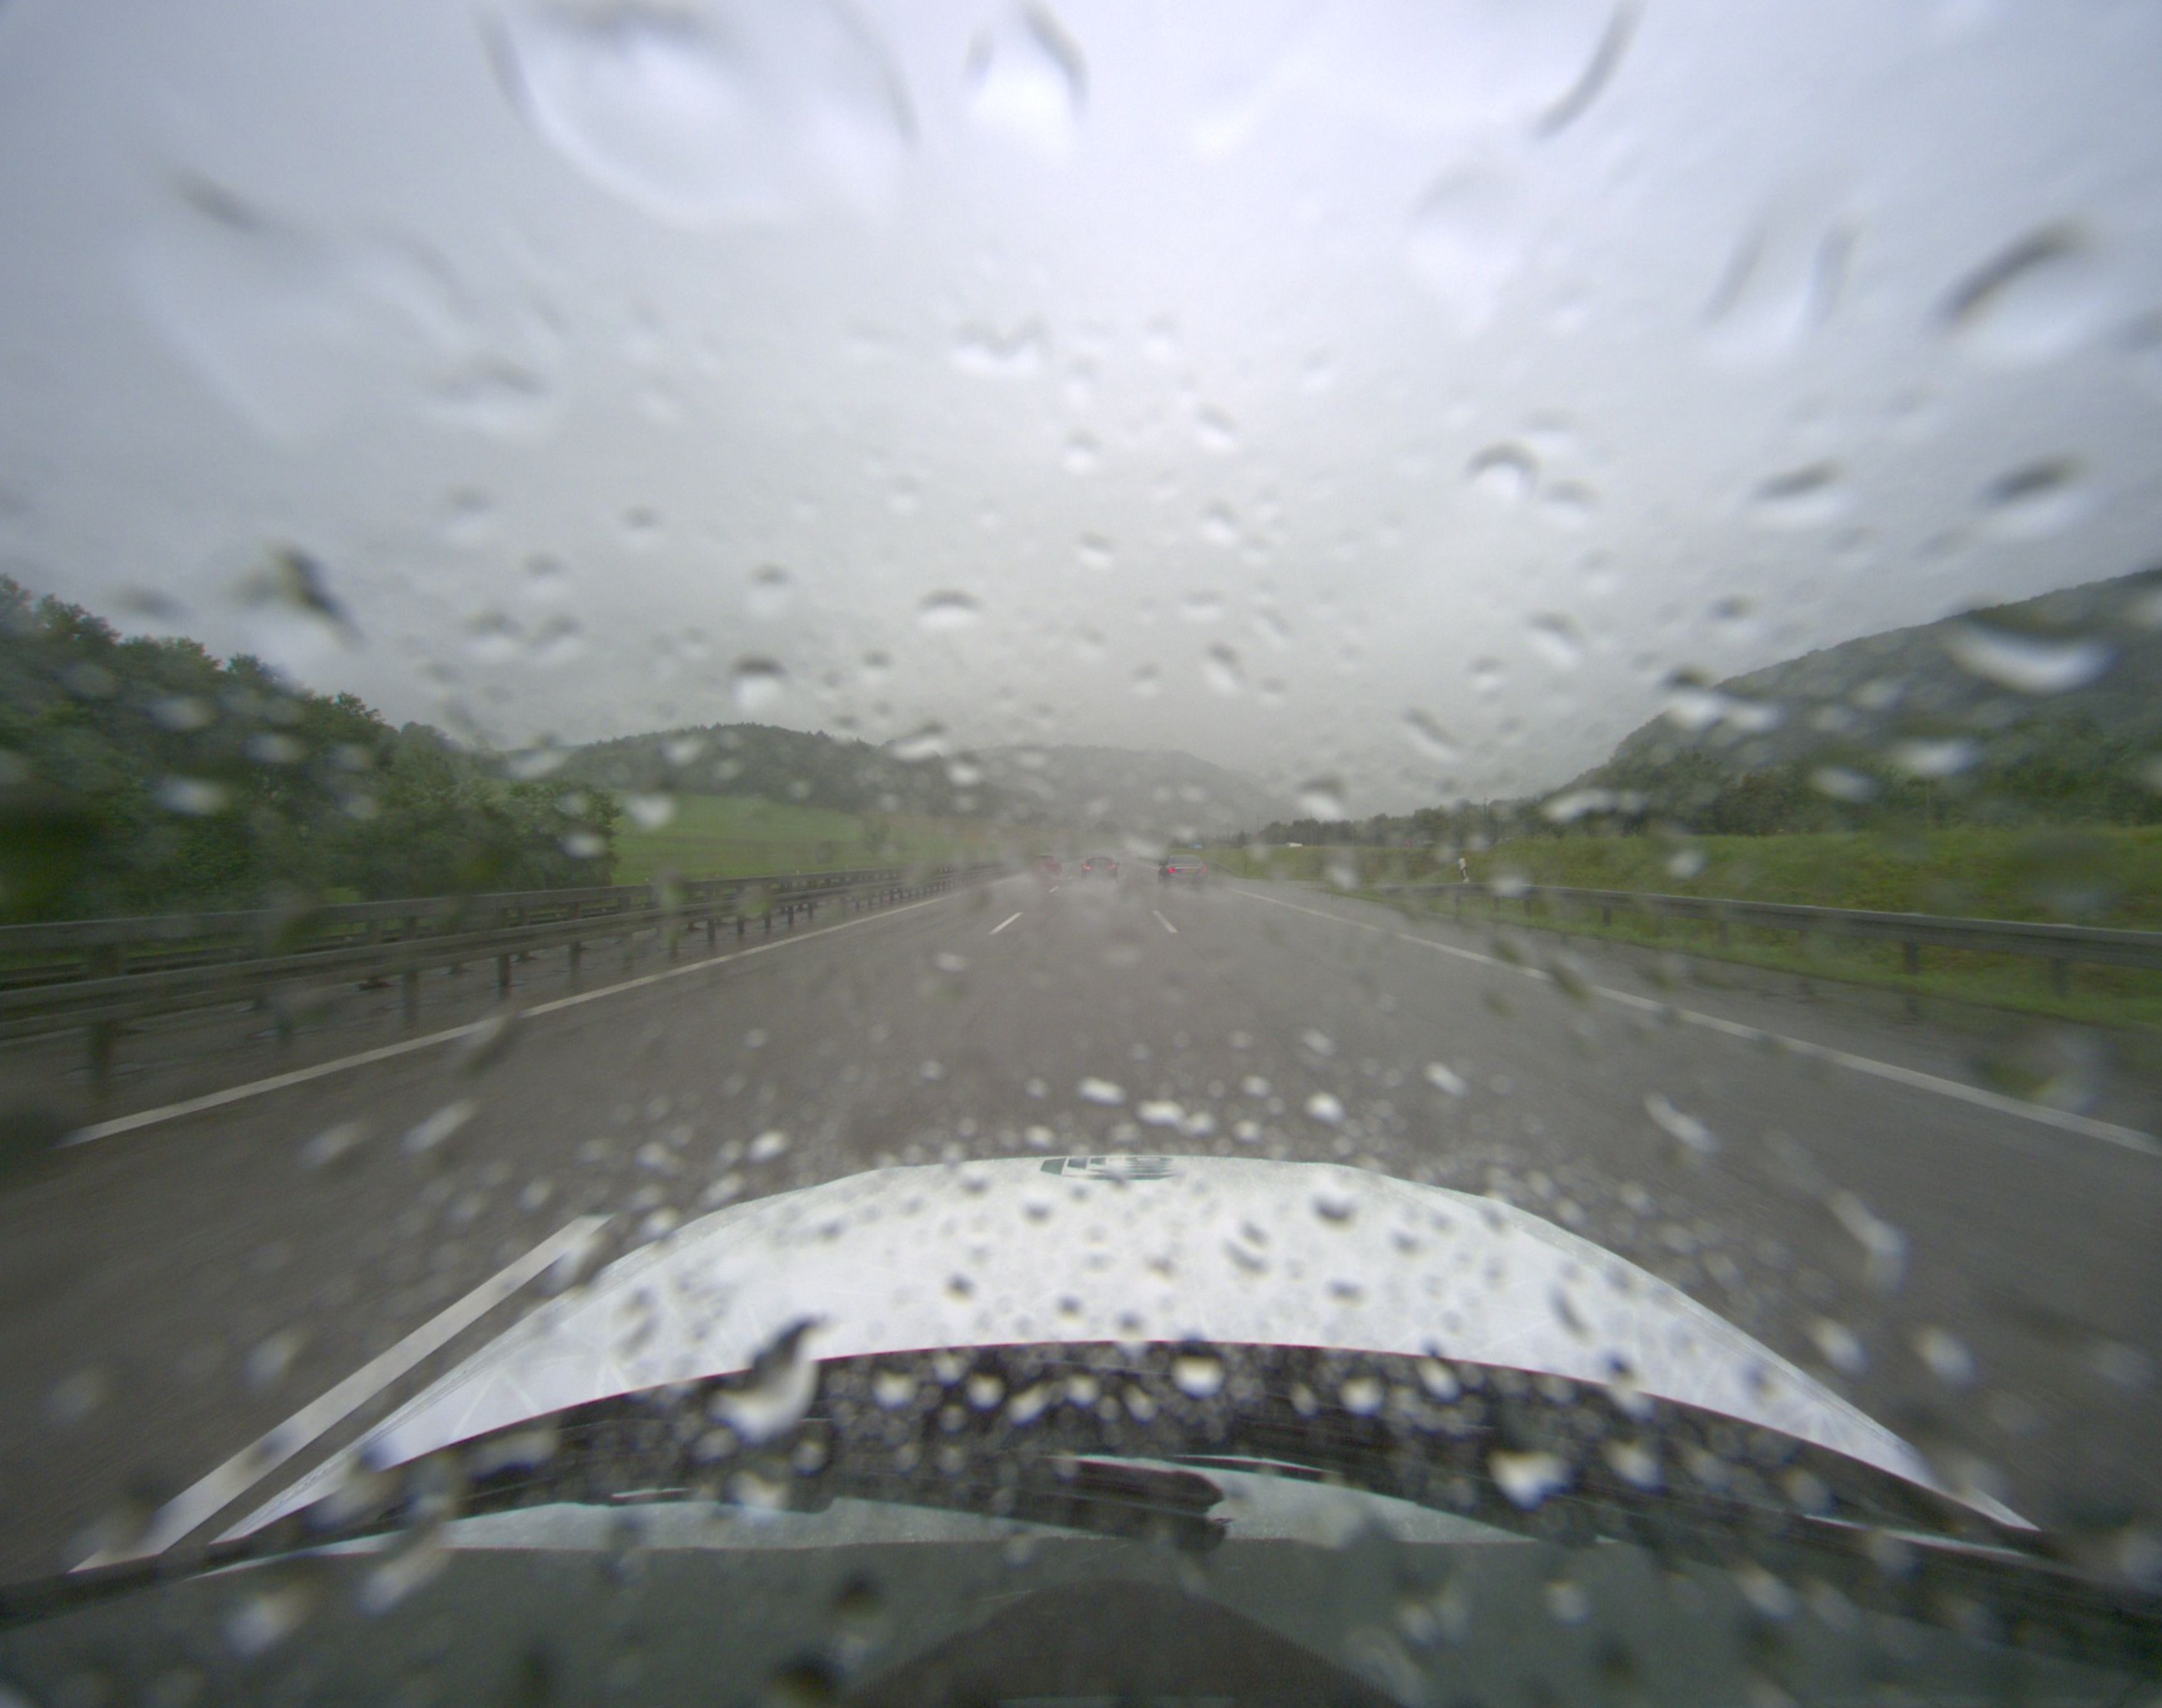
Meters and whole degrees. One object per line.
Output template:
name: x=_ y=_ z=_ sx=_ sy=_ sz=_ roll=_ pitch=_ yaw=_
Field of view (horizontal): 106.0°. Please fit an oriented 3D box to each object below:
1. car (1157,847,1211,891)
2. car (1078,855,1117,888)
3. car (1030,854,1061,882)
car: x=4.413 y=0.600 z=35.421 sx=1.964 sy=1.760 sz=4.002 roll=-1 pitch=0 yaw=2
car: x=0.859 y=0.866 z=41.193 sx=1.852 sy=1.589 sz=4.002 roll=0 pitch=0 yaw=2
car: x=-2.408 y=0.914 z=56.386 sx=1.878 sy=1.816 sz=4.001 roll=-1 pitch=0 yaw=1
